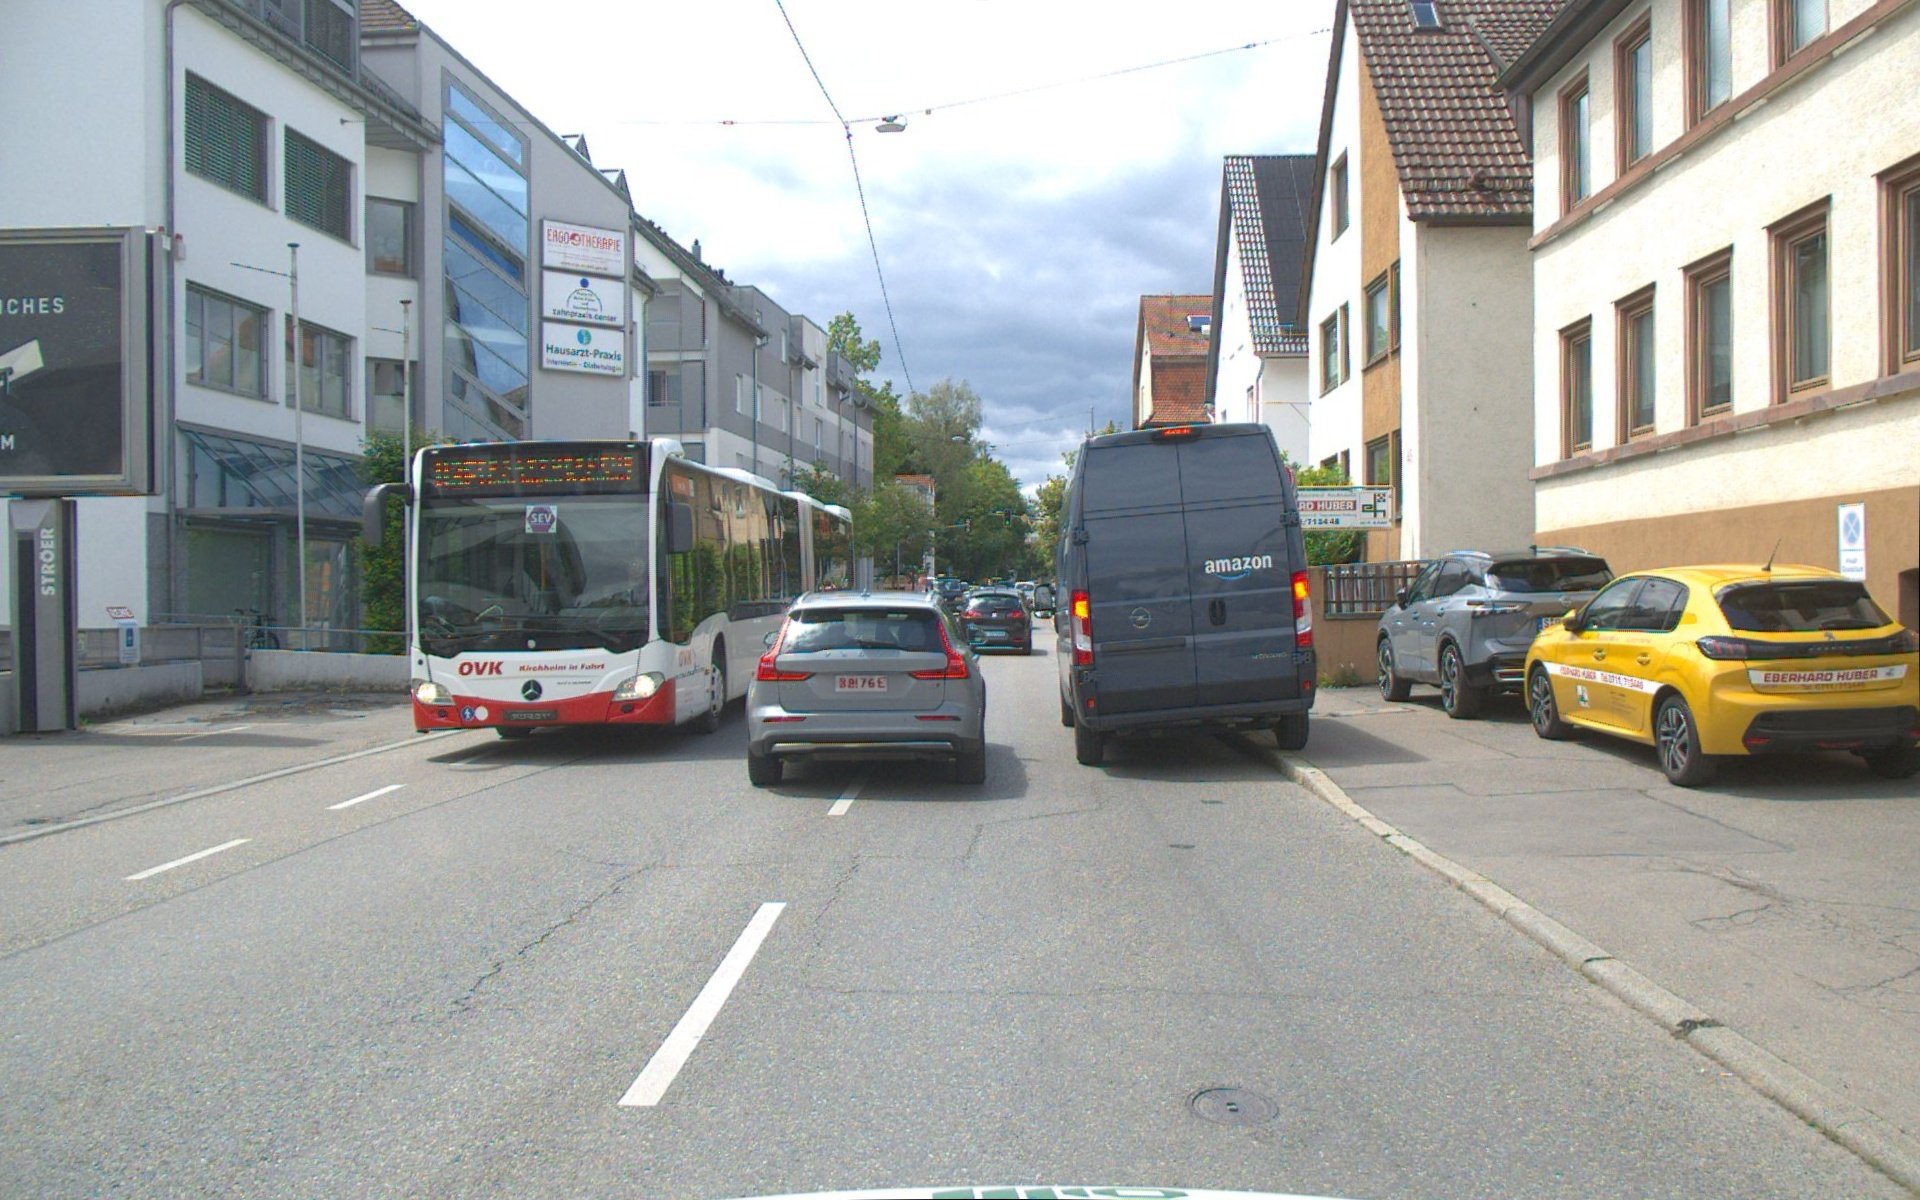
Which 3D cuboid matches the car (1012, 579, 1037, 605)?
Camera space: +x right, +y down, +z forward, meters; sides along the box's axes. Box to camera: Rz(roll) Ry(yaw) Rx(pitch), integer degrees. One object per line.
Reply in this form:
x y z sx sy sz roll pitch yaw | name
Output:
5.344 -0.688 136.474 1.952 2.049 4.002 -1 0 3 | car

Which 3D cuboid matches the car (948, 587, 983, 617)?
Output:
0.354 0.103 99.045 2.062 1.739 4.766 -1 0 1 | car

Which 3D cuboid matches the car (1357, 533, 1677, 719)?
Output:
5.662 0.208 17.468 1.822 1.640 4.586 -2 1 1 | car

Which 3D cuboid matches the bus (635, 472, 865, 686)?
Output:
-3.440 -0.353 29.261 2.659 3.219 8.071 -1 0 2 | bus

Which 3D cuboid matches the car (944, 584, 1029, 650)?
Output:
0.675 0.363 38.944 1.857 1.472 3.970 0 1 3 | car

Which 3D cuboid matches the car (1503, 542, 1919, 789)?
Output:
5.811 0.342 12.676 1.839 1.472 4.308 -1 3 -1 | car

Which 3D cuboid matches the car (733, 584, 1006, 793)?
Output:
-0.595 0.613 13.785 1.857 1.479 3.970 0 1 3 | car

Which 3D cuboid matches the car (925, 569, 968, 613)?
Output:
-0.683 -0.478 87.478 2.062 2.158 4.766 -3 0 1 | car

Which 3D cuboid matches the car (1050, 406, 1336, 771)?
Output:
2.001 -0.112 15.868 2.205 2.844 5.572 -1 0 3 | car

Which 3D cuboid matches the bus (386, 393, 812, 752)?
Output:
-3.750 -0.292 20.167 2.626 3.219 10.187 -1 0 2 | bus

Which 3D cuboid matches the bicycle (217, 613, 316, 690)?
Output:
-10.866 0.783 25.986 0.617 1.114 2.003 -1 1 3 | bicycle
